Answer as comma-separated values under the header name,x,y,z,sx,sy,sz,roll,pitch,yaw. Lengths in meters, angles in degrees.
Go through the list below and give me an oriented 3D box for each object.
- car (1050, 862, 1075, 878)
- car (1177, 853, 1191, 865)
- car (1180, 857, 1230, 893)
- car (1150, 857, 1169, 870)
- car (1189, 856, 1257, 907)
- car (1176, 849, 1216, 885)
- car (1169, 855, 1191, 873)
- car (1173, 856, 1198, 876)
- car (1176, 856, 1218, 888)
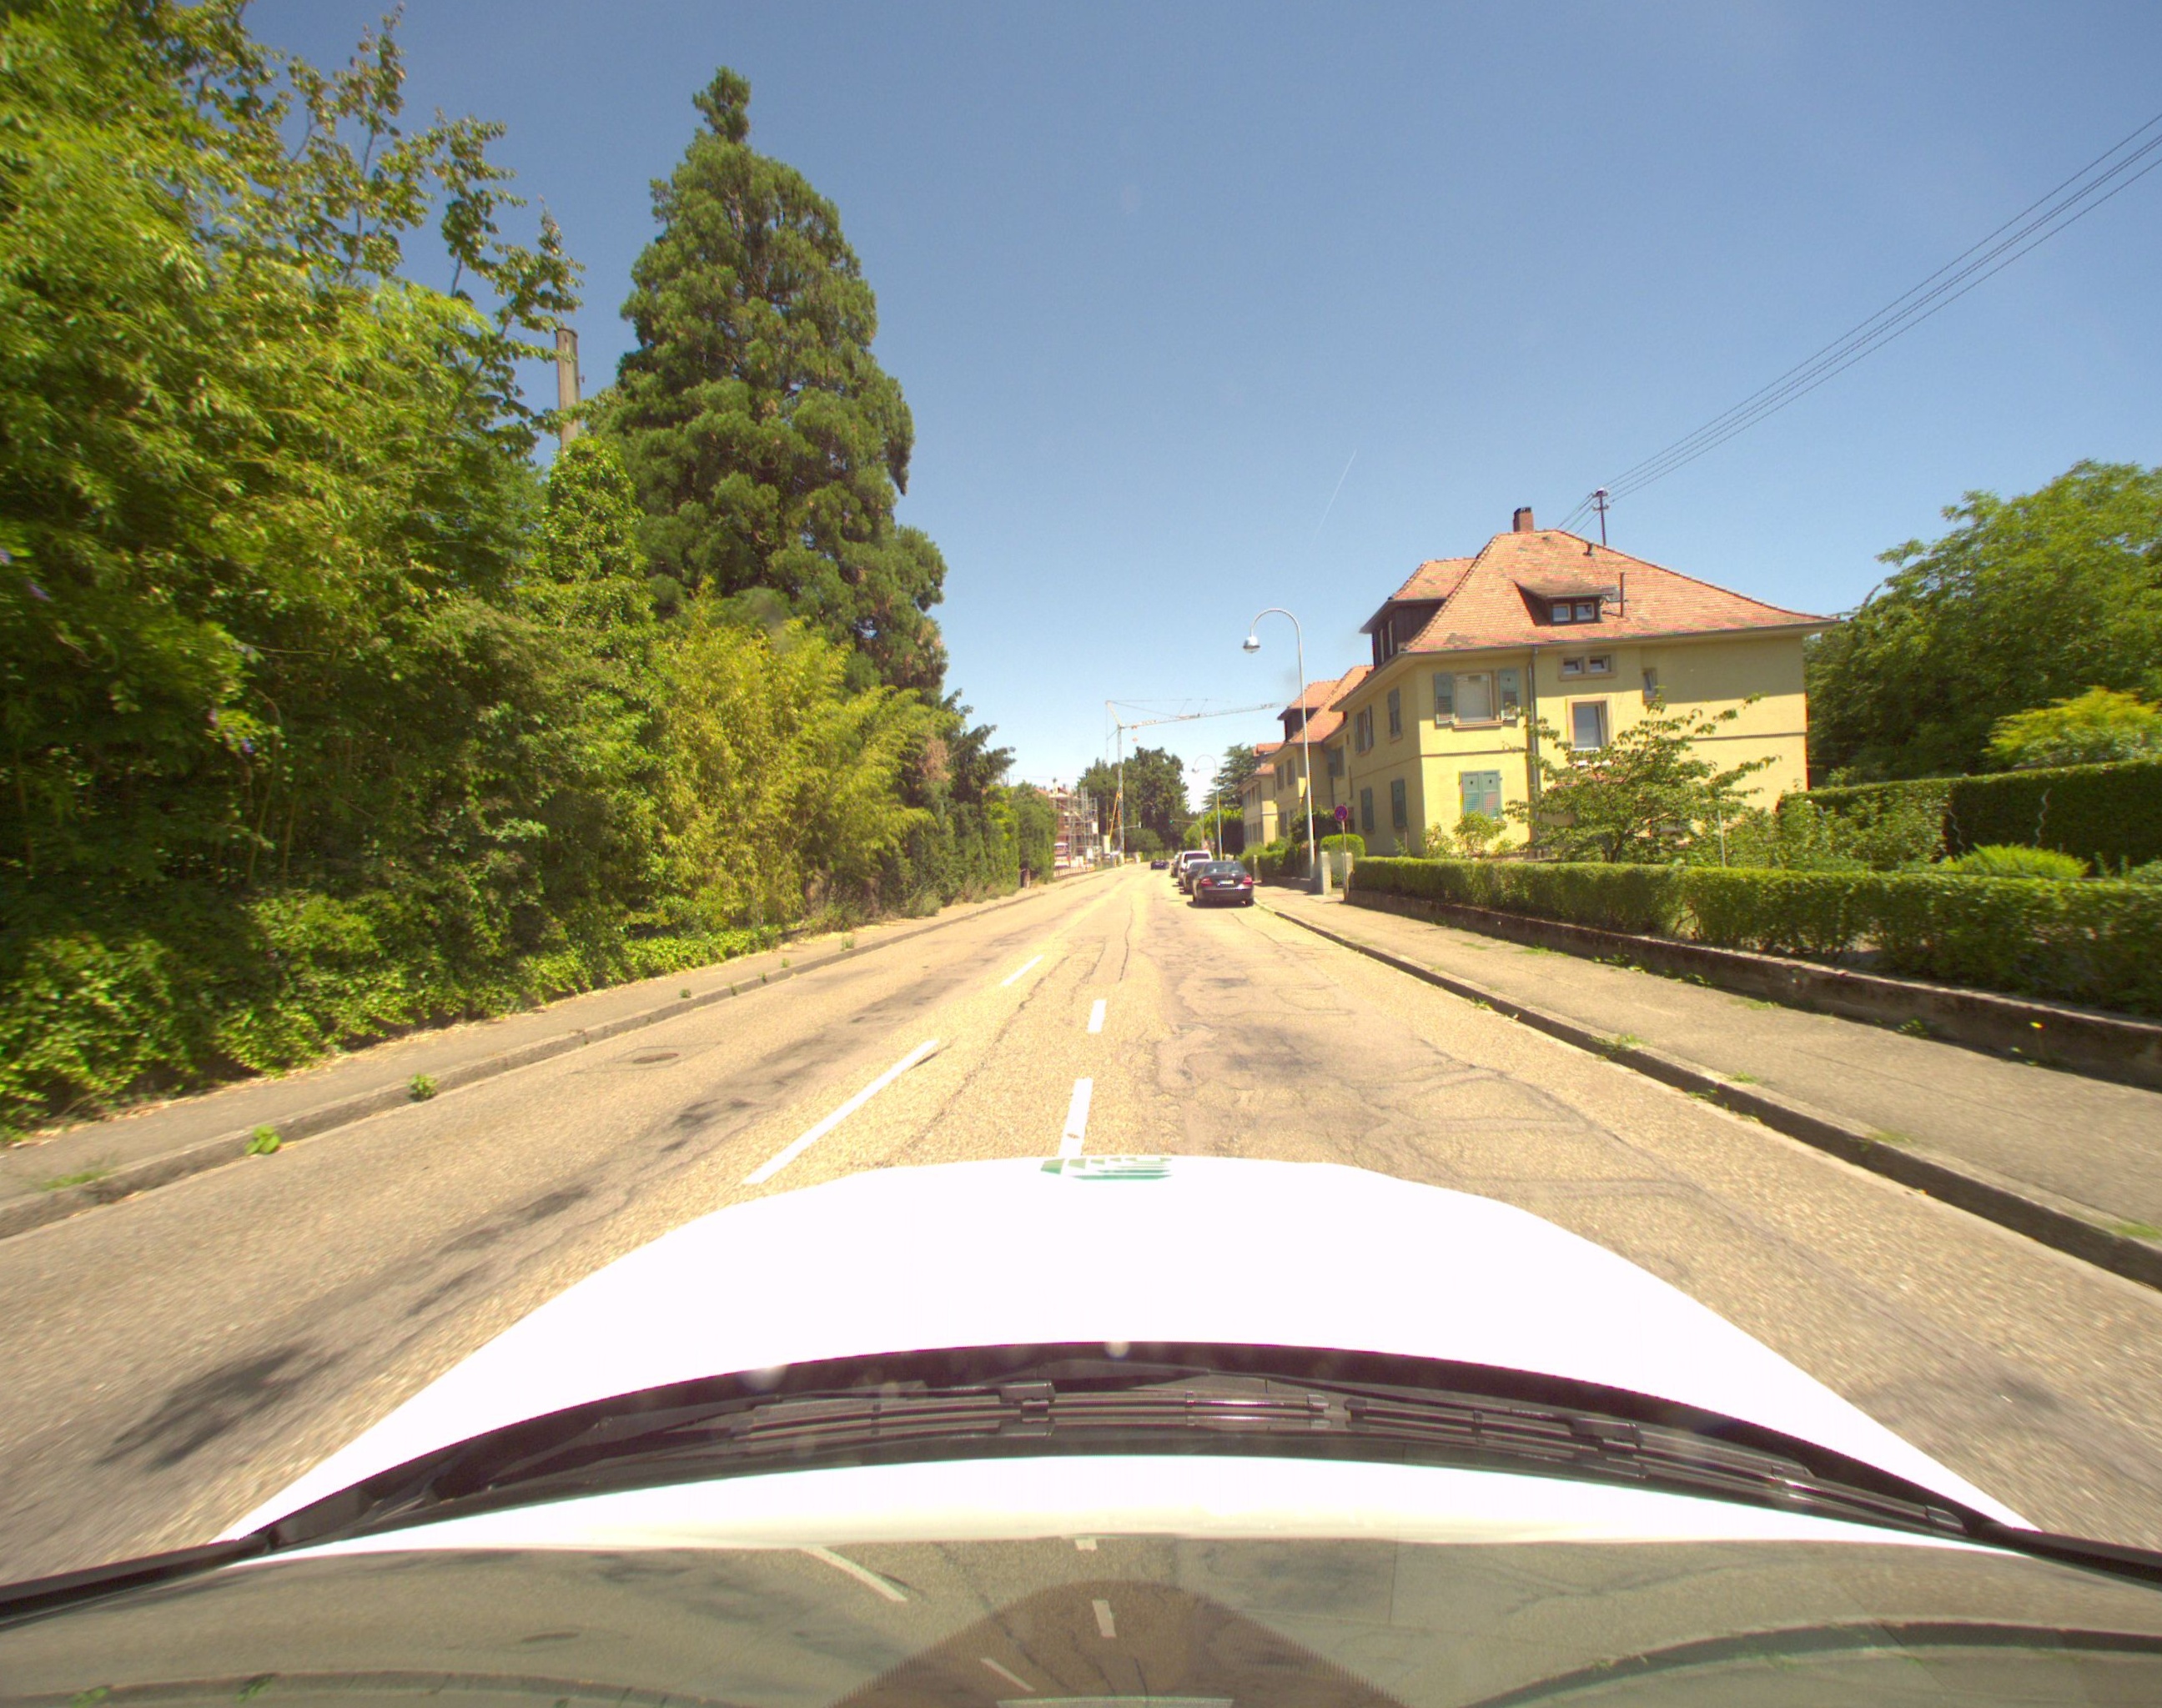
name,x,y,z,sx,sy,sz,roll,pitch,yaw
car,-1.801,1.579,79.911,1.649,1.389,3.546,-3,-1,11
car,15.818,0.787,124.978,1.981,1.662,4.011,-3,-1,9
car,5.308,0.865,35.305,1.753,1.371,4.612,-2,0,4
car,9.829,1.138,101.731,1.947,1.468,4.010,-3,0,9
car,4.449,0.841,26.135,1.685,1.419,4.556,-2,-1,4
car,6.408,0.725,45.753,1.984,1.901,4.829,-1,0,5
car,8.660,0.853,71.531,1.753,1.451,3.894,-2,0,4
car,8.390,0.938,65.606,1.753,1.451,3.844,-2,0,4
car,5.695,0.850,40.233,1.753,1.451,3.652,-2,0,4
